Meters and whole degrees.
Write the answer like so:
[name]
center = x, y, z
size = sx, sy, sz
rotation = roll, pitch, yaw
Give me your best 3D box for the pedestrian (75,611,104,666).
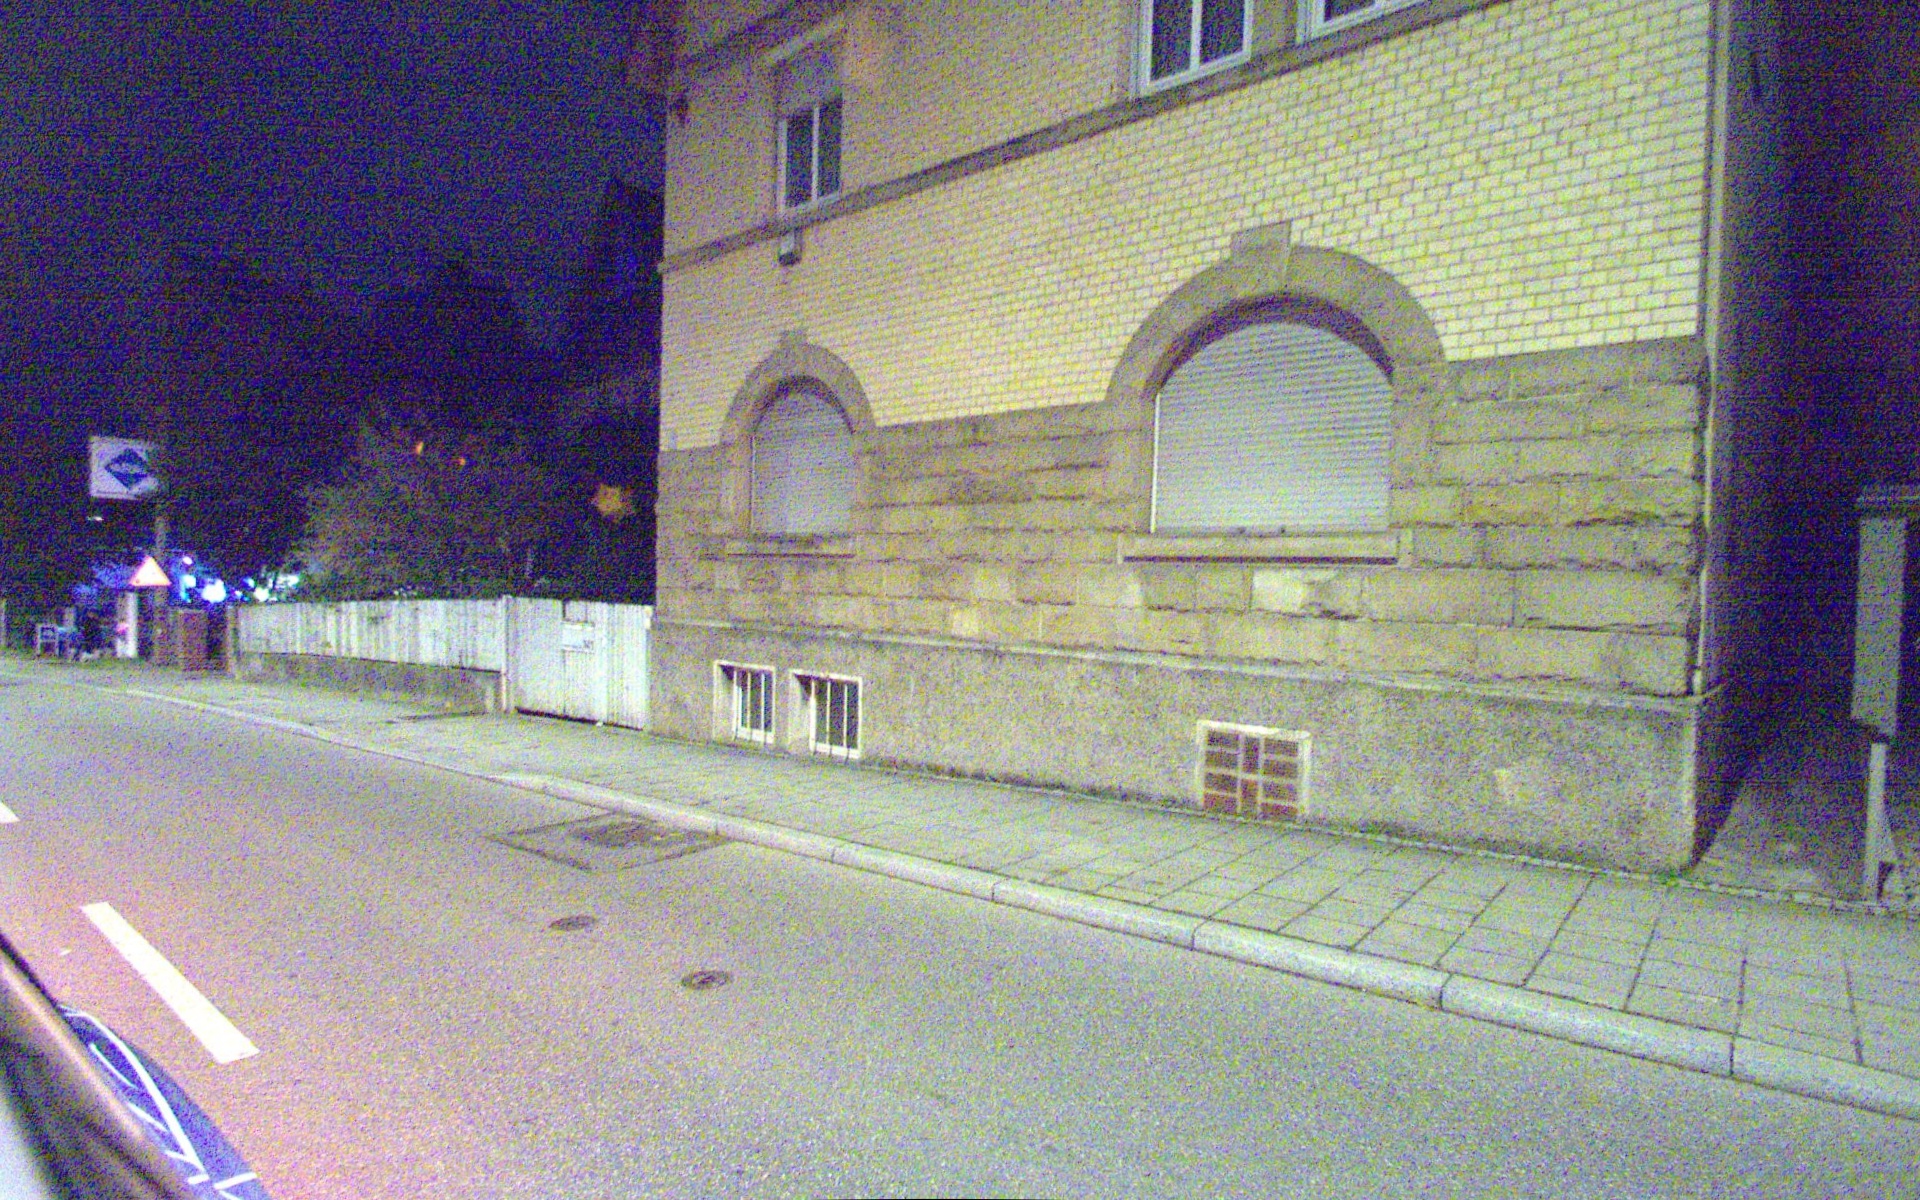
[pedestrian]
center = -28.895, 1.271, 33.598
size = 0.500, 1.773, 0.664
rotation = -1, 0, 41
